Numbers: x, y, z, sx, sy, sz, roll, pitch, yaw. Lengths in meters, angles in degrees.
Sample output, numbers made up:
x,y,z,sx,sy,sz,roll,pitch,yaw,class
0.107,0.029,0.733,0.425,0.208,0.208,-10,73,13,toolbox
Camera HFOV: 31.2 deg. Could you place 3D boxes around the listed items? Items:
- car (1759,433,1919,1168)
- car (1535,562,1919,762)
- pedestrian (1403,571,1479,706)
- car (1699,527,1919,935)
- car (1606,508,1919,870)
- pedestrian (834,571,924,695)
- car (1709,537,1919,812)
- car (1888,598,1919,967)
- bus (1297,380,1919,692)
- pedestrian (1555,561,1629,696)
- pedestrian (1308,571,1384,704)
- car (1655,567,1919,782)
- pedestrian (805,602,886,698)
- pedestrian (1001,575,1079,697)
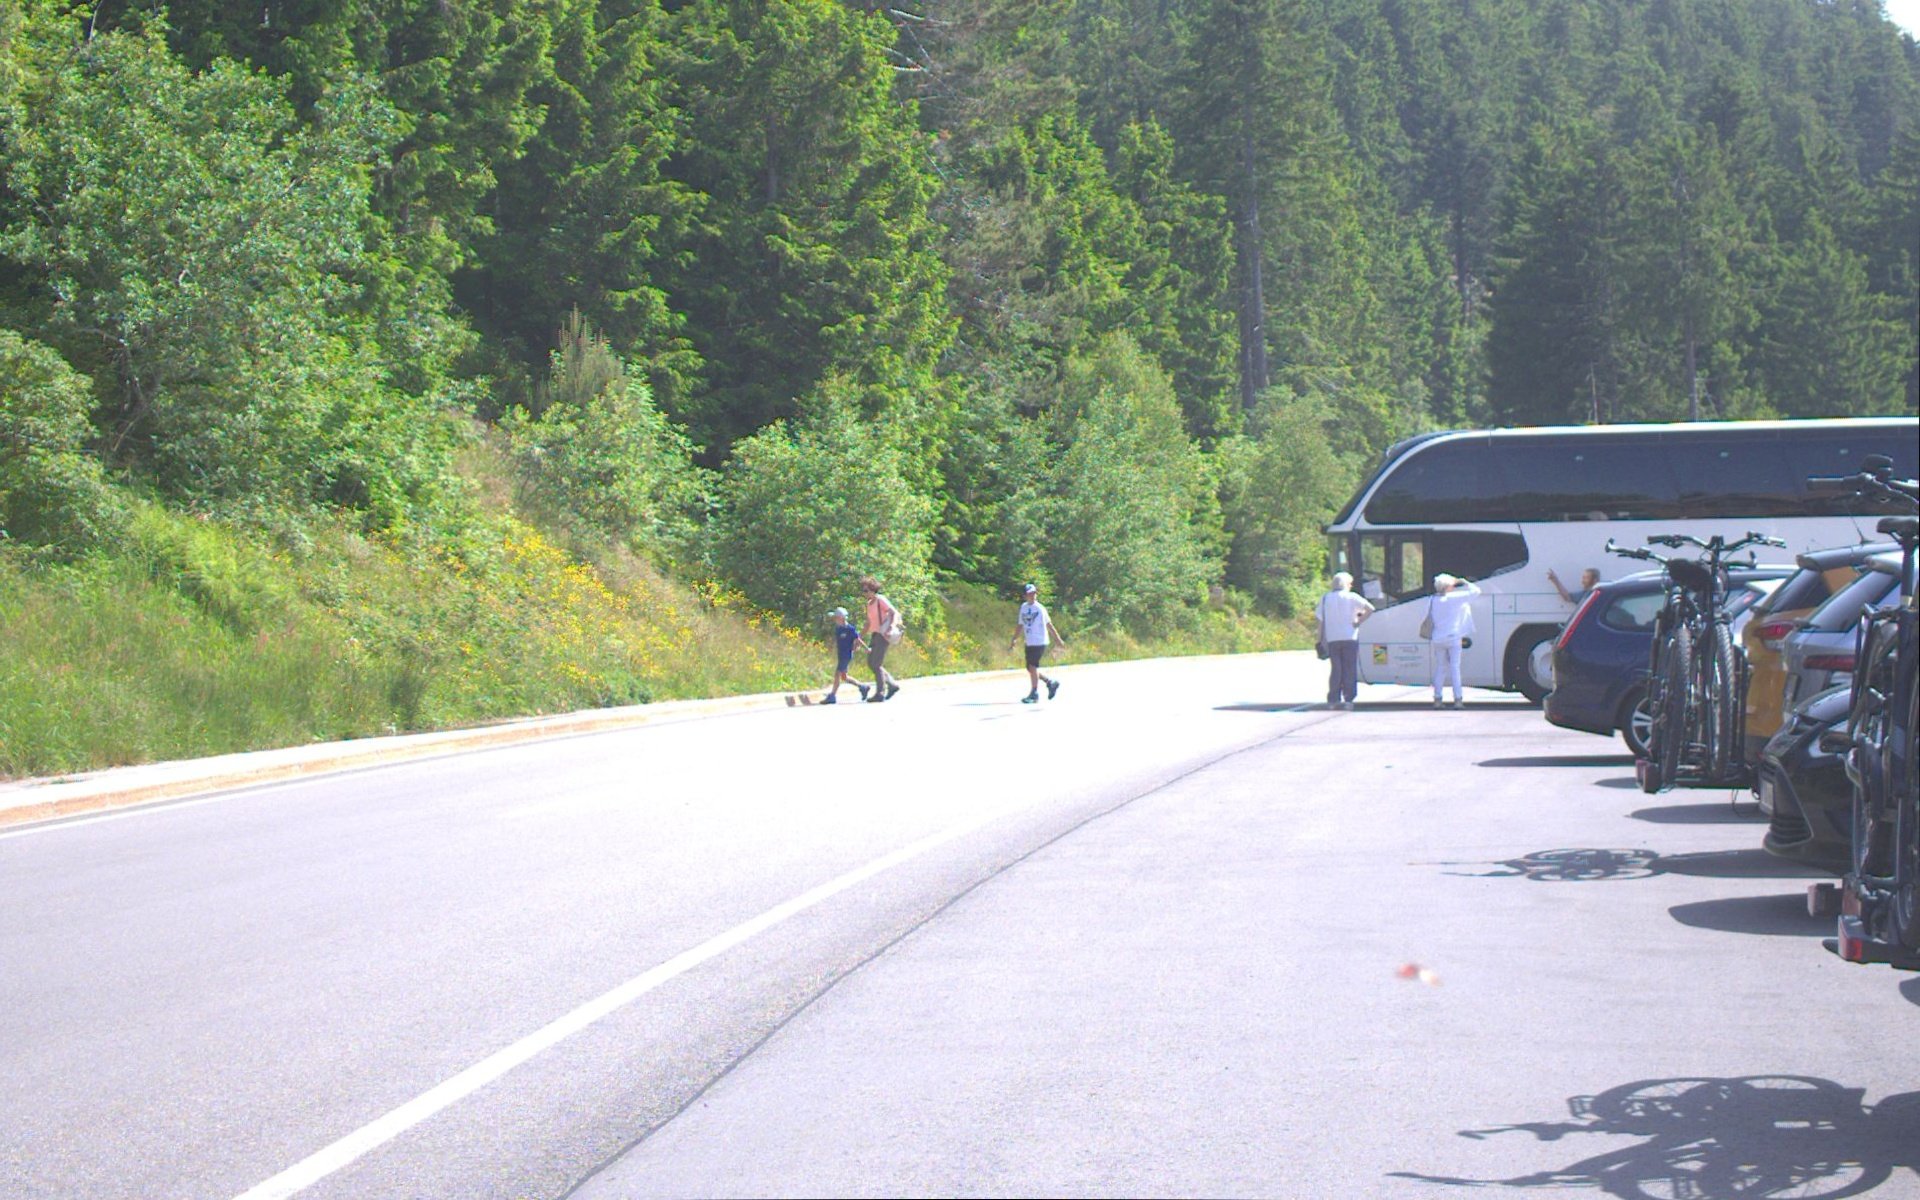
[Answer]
x,y,z,sx,sy,sz,roll,pitch,yaw,class
4.588,0.404,8.486,4.951,1.690,1.944,-1,0,10,car
6.608,0.454,27.092,3.988,1.444,1.860,-2,0,8,car
5.760,0.451,41.143,0.771,1.580,0.772,-2,0,14,pedestrian
5.241,0.443,13.848,4.245,1.548,1.837,-2,0,8,car
5.775,0.350,16.671,5.035,1.645,2.047,-2,0,8,car
-1.123,0.453,47.744,0.854,1.677,0.869,-2,0,-39,pedestrian
6.549,0.378,20.282,3.988,1.548,1.659,-2,0,8,car
5.348,0.577,11.204,4.245,1.264,1.837,-2,0,8,car
10.917,-0.818,41.945,13.104,3.520,3.041,-2,0,18,bus
7.565,0.340,41.140,0.770,1.580,0.772,-2,0,15,pedestrian
4.666,0.448,41.546,0.771,1.580,0.772,-2,0,14,pedestrian
6.913,0.468,23.753,3.988,1.393,1.619,-2,0,8,car
-1.562,0.677,46.724,0.734,1.275,0.783,-2,0,-40,pedestrian
1.062,0.473,45.597,0.853,1.580,0.818,-2,0,-9,pedestrian
